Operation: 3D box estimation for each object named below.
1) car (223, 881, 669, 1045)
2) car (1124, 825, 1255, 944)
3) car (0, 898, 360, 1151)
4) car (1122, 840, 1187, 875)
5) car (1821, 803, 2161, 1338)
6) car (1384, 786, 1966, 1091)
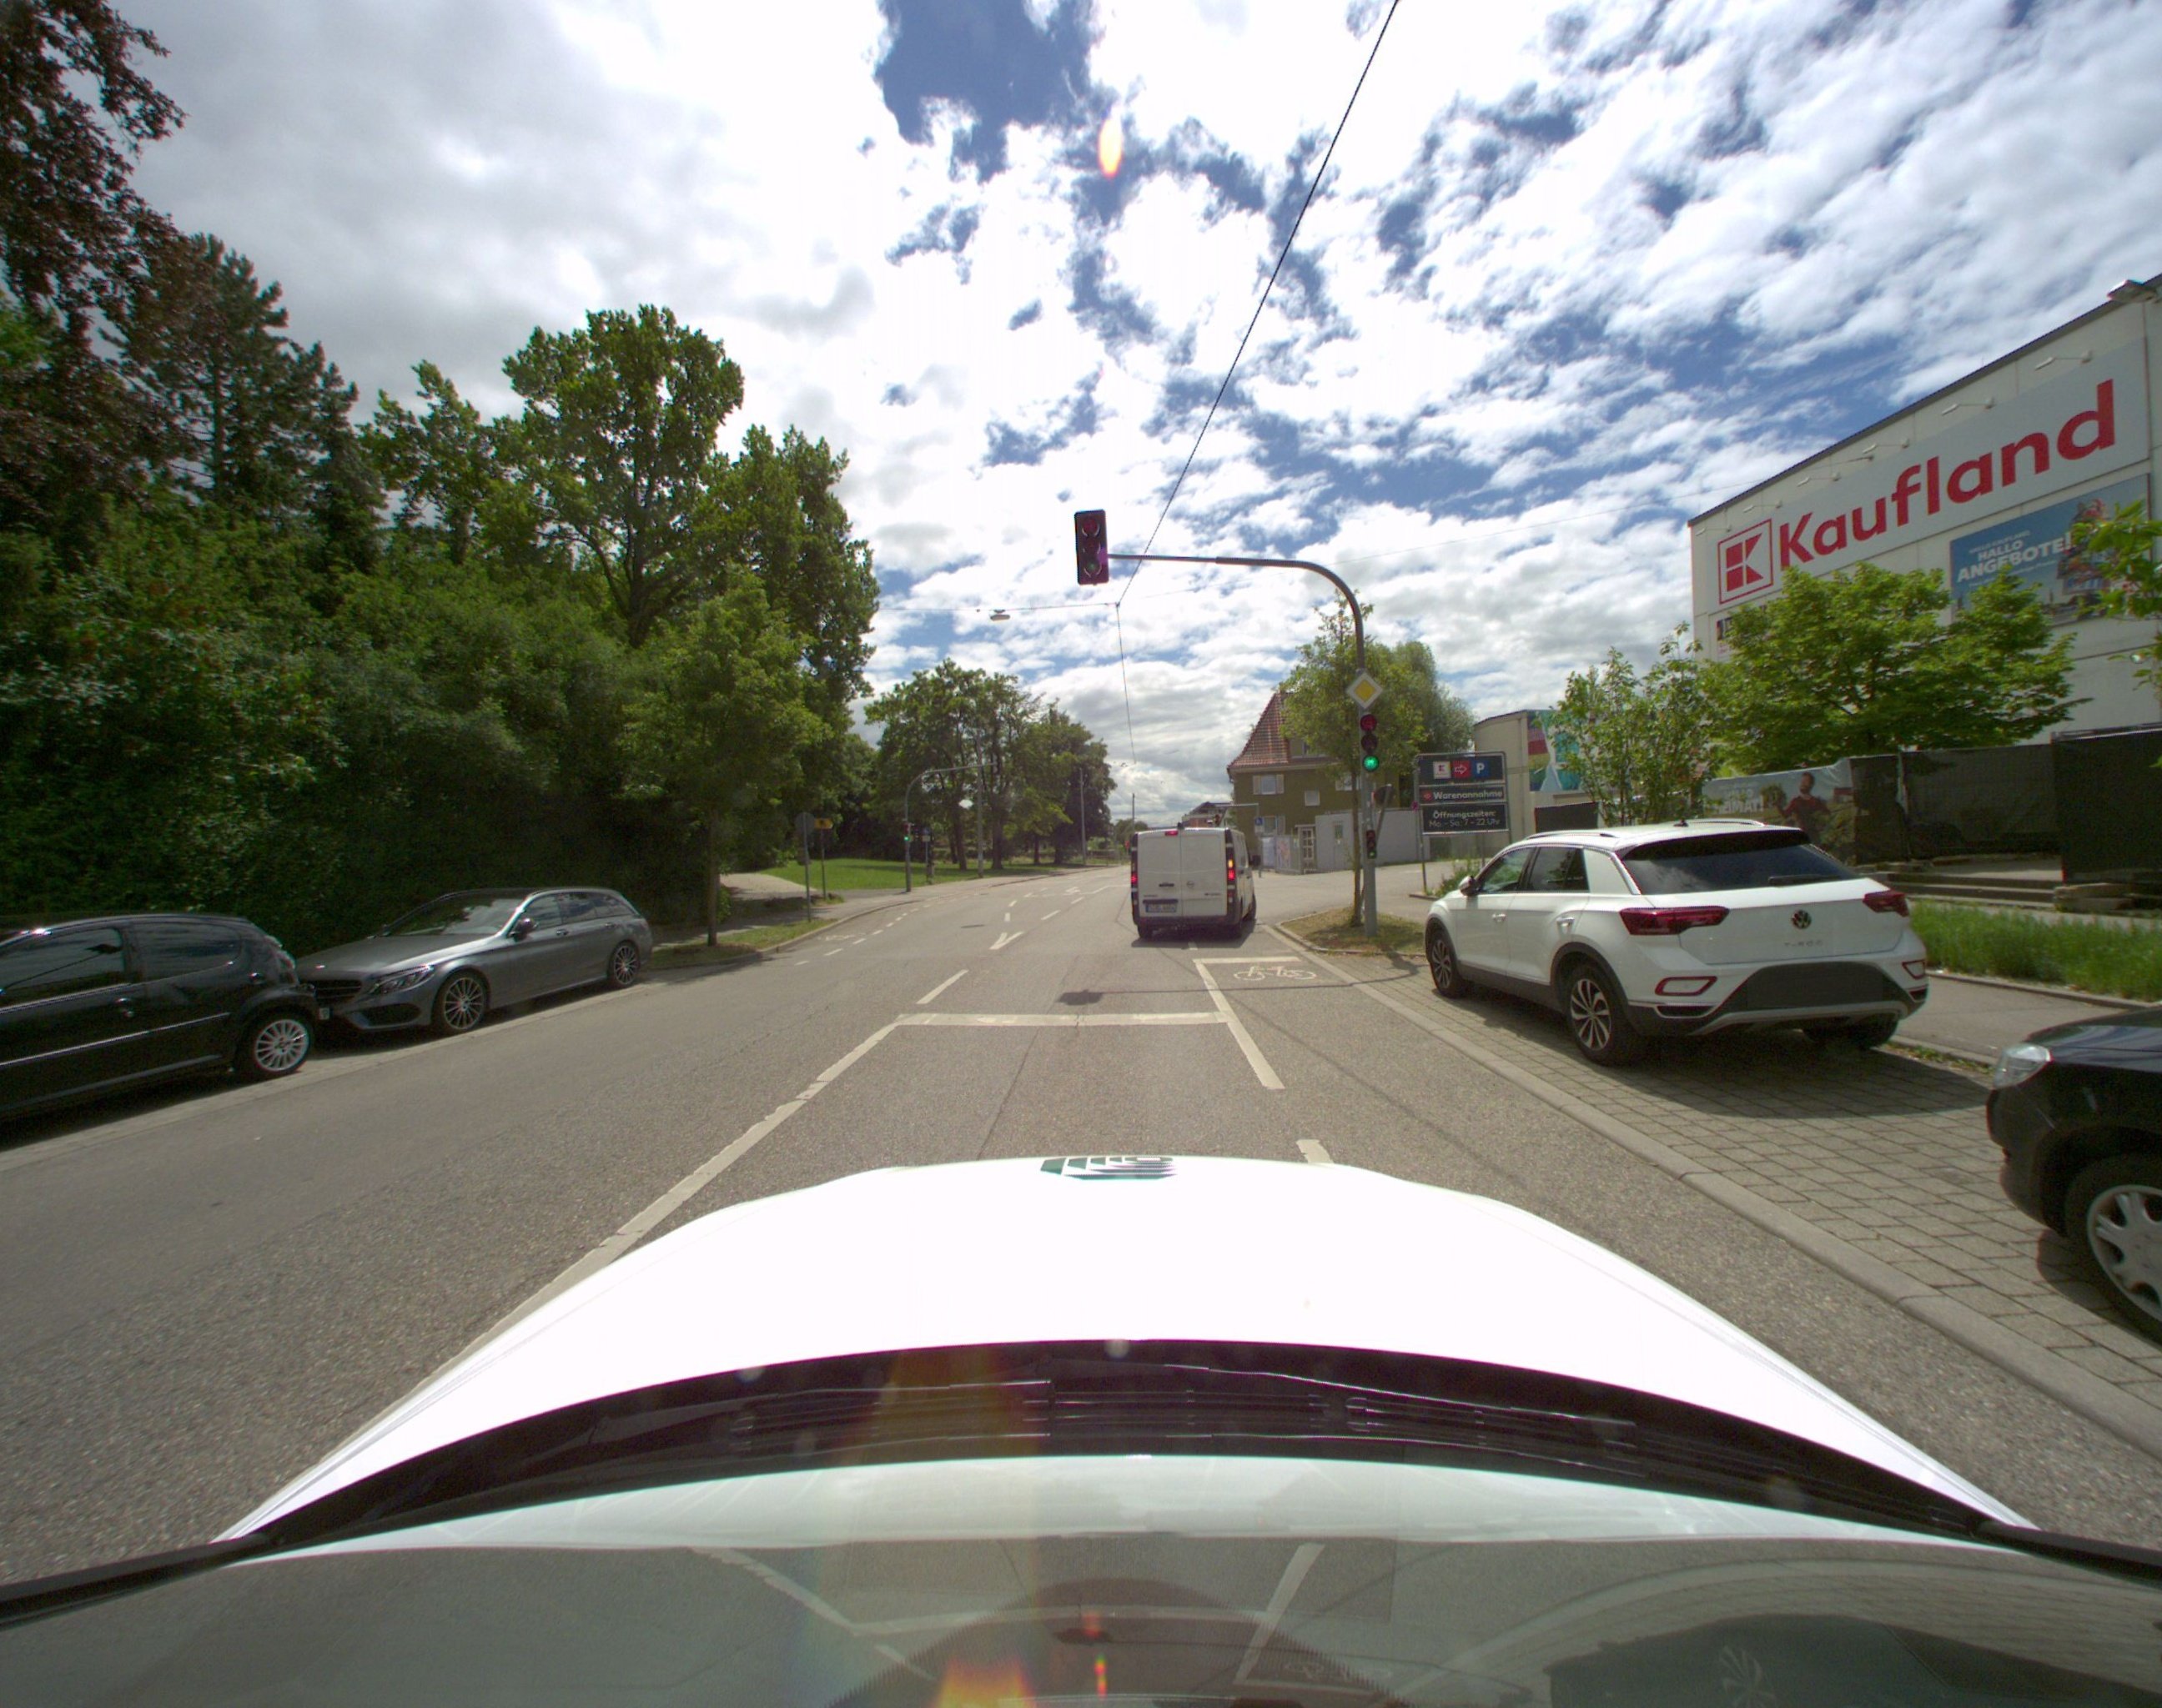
[{"bbox_3d":[-7.159,1.104,9.997,1.688,1.365,4.687,-1,0,1],"label":"car"},{"bbox_3d":[2.296,0.476,15.969,1.924,1.960,4.852,-1,1,14],"label":"car"},{"bbox_3d":[-7.512,1.150,5.694,1.589,1.450,3.599,-2,0,3],"label":"car"},{"bbox_3d":[3.538,0.168,39.798,1.609,1.606,3.972,-1,0,-20],"label":"car"},{"bbox_3d":[3.752,0.572,1.284,1.562,1.493,4.002,-4,0,2],"label":"car"},{"bbox_3d":[4.241,0.496,6.902,1.730,1.616,4.389,-5,0,2],"label":"car"}]
